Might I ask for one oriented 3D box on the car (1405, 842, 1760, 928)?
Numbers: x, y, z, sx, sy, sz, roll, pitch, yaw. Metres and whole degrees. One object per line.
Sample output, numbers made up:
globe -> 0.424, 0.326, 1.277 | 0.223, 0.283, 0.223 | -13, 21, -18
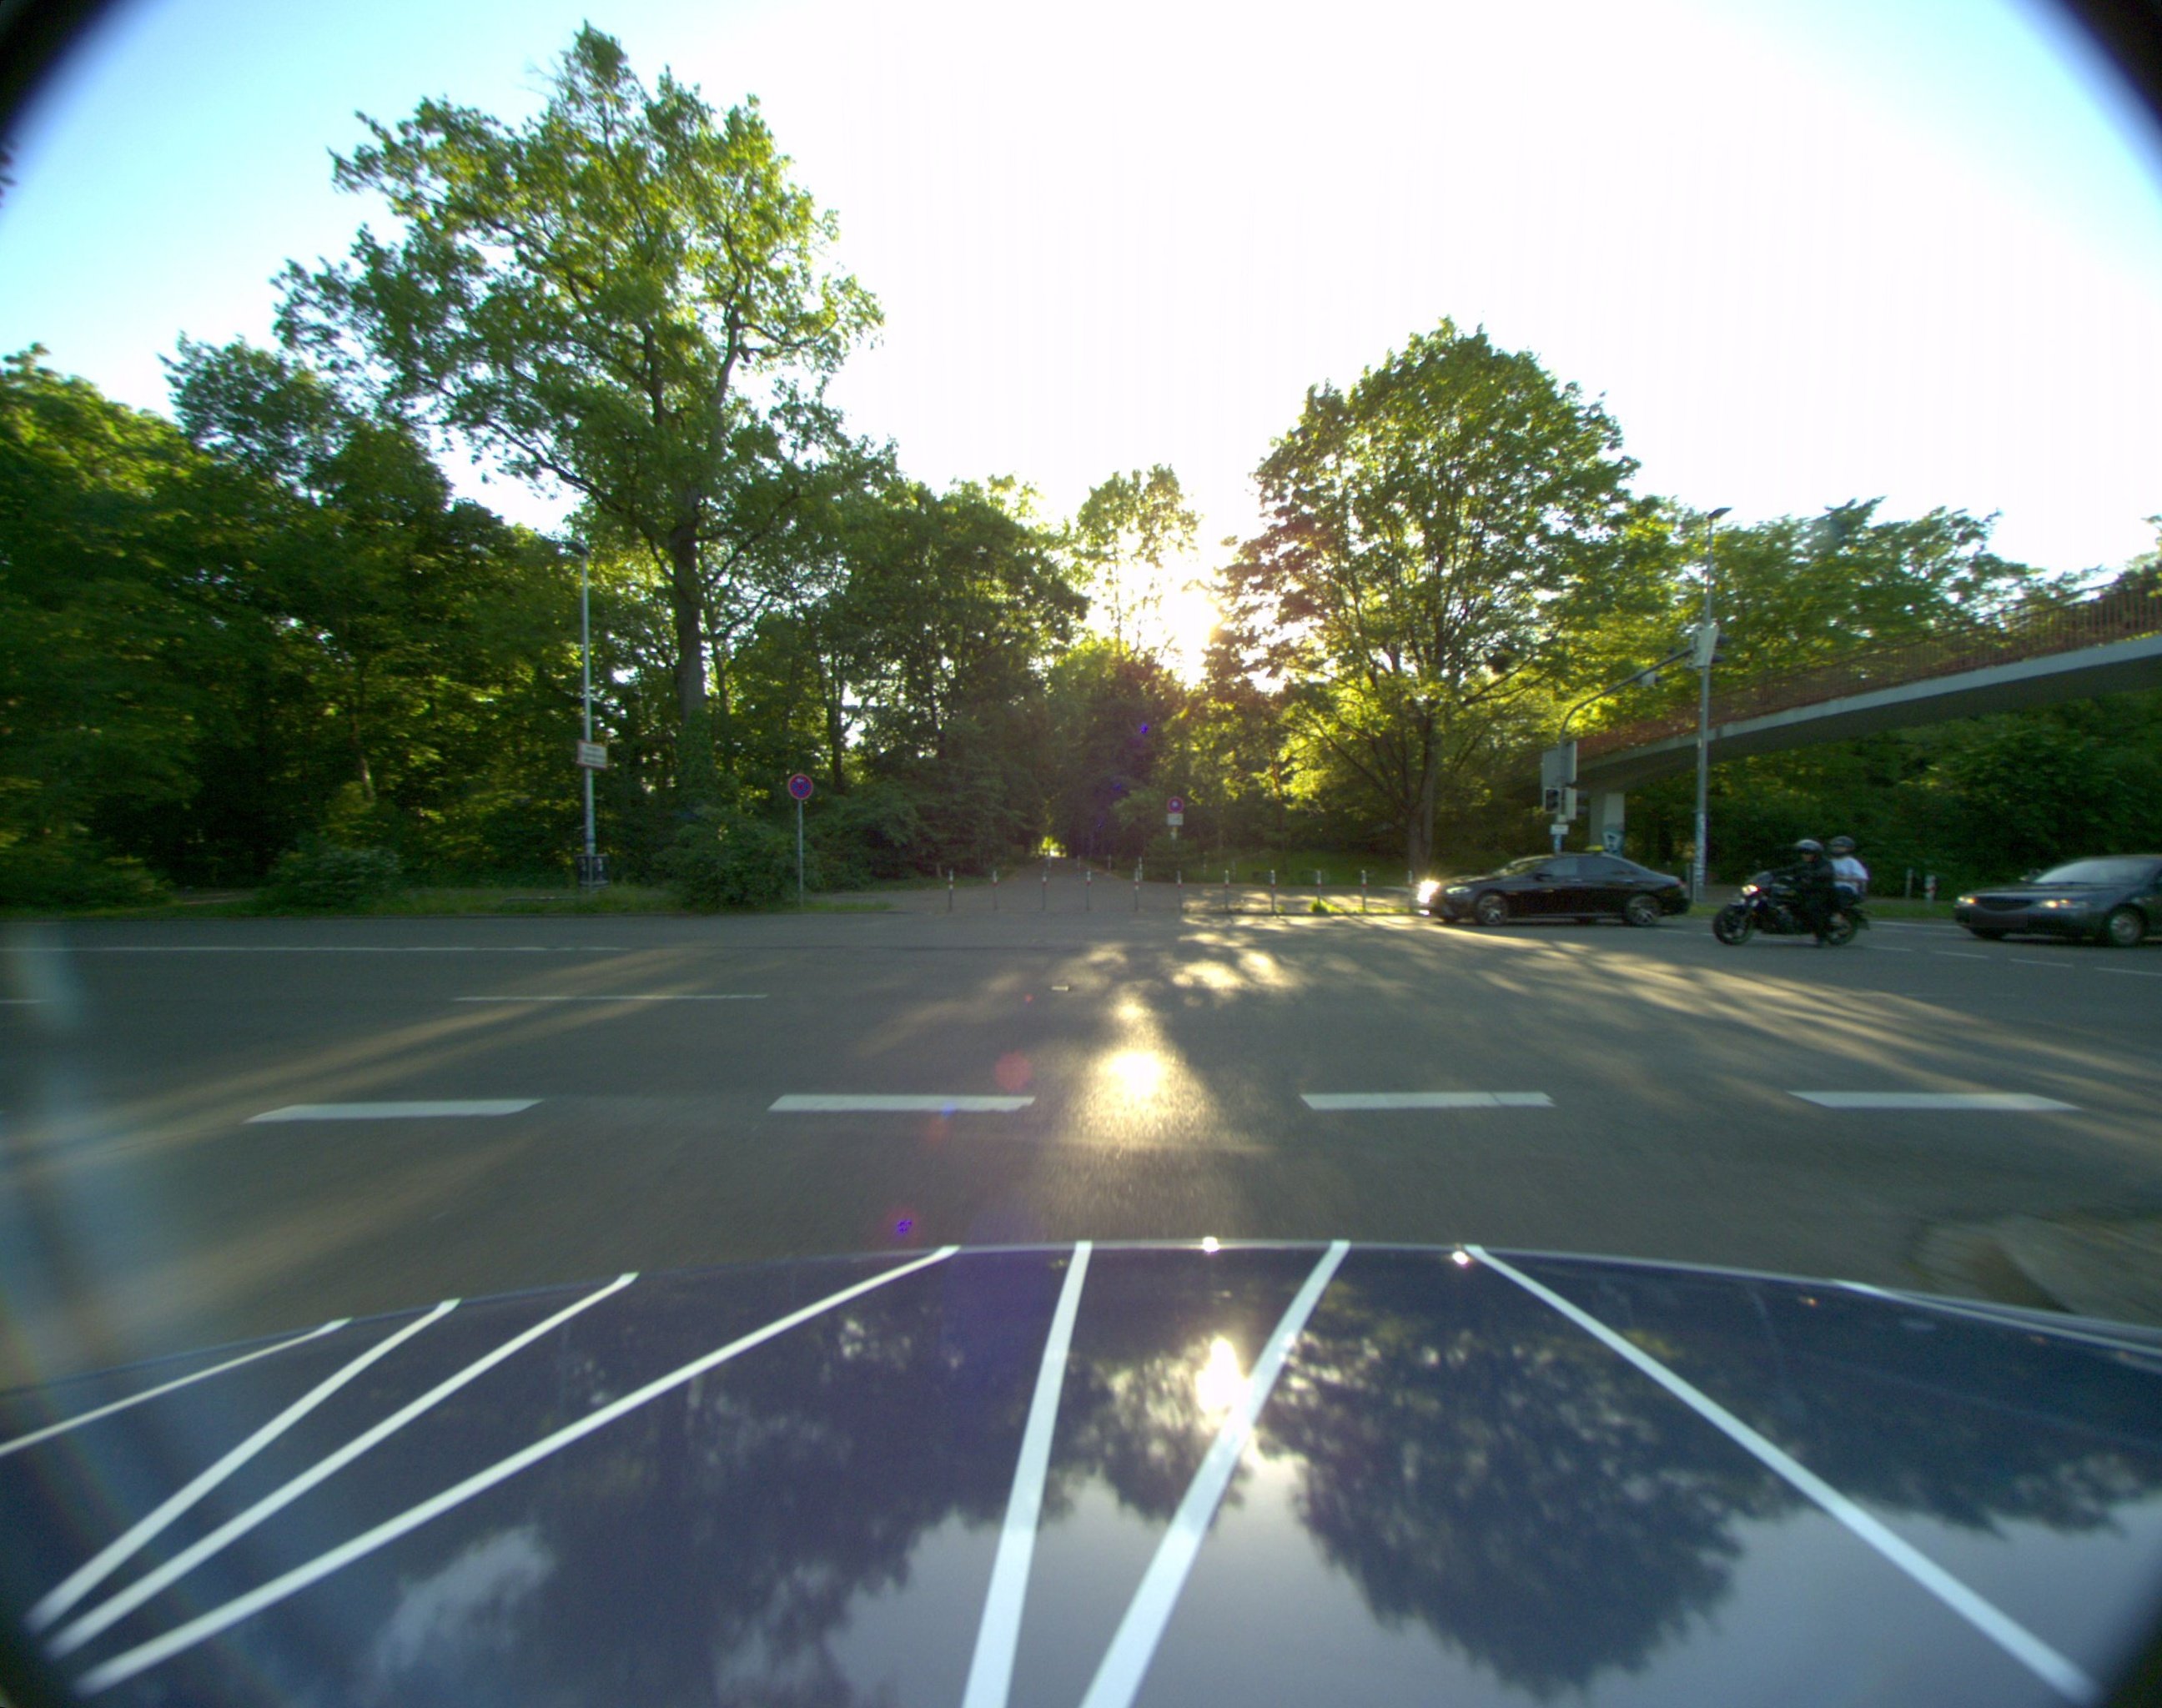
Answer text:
car -> 9.947, 0.572, 15.410 | 5.883, 1.625, 1.999 | 0, 1, -1

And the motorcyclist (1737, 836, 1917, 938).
motorcyclist -> 11.134, 0.465, 11.409 | 1.565, 1.419, 1.139 | -2, 1, 2

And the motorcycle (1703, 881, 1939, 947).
motorcycle -> 11.034, 0.887, 11.403 | 2.710, 0.908, 0.808 | 0, 1, 1

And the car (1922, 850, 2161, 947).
car -> 16.168, 0.639, 11.890 | 3.998, 1.381, 1.868 | 0, 1, -2
